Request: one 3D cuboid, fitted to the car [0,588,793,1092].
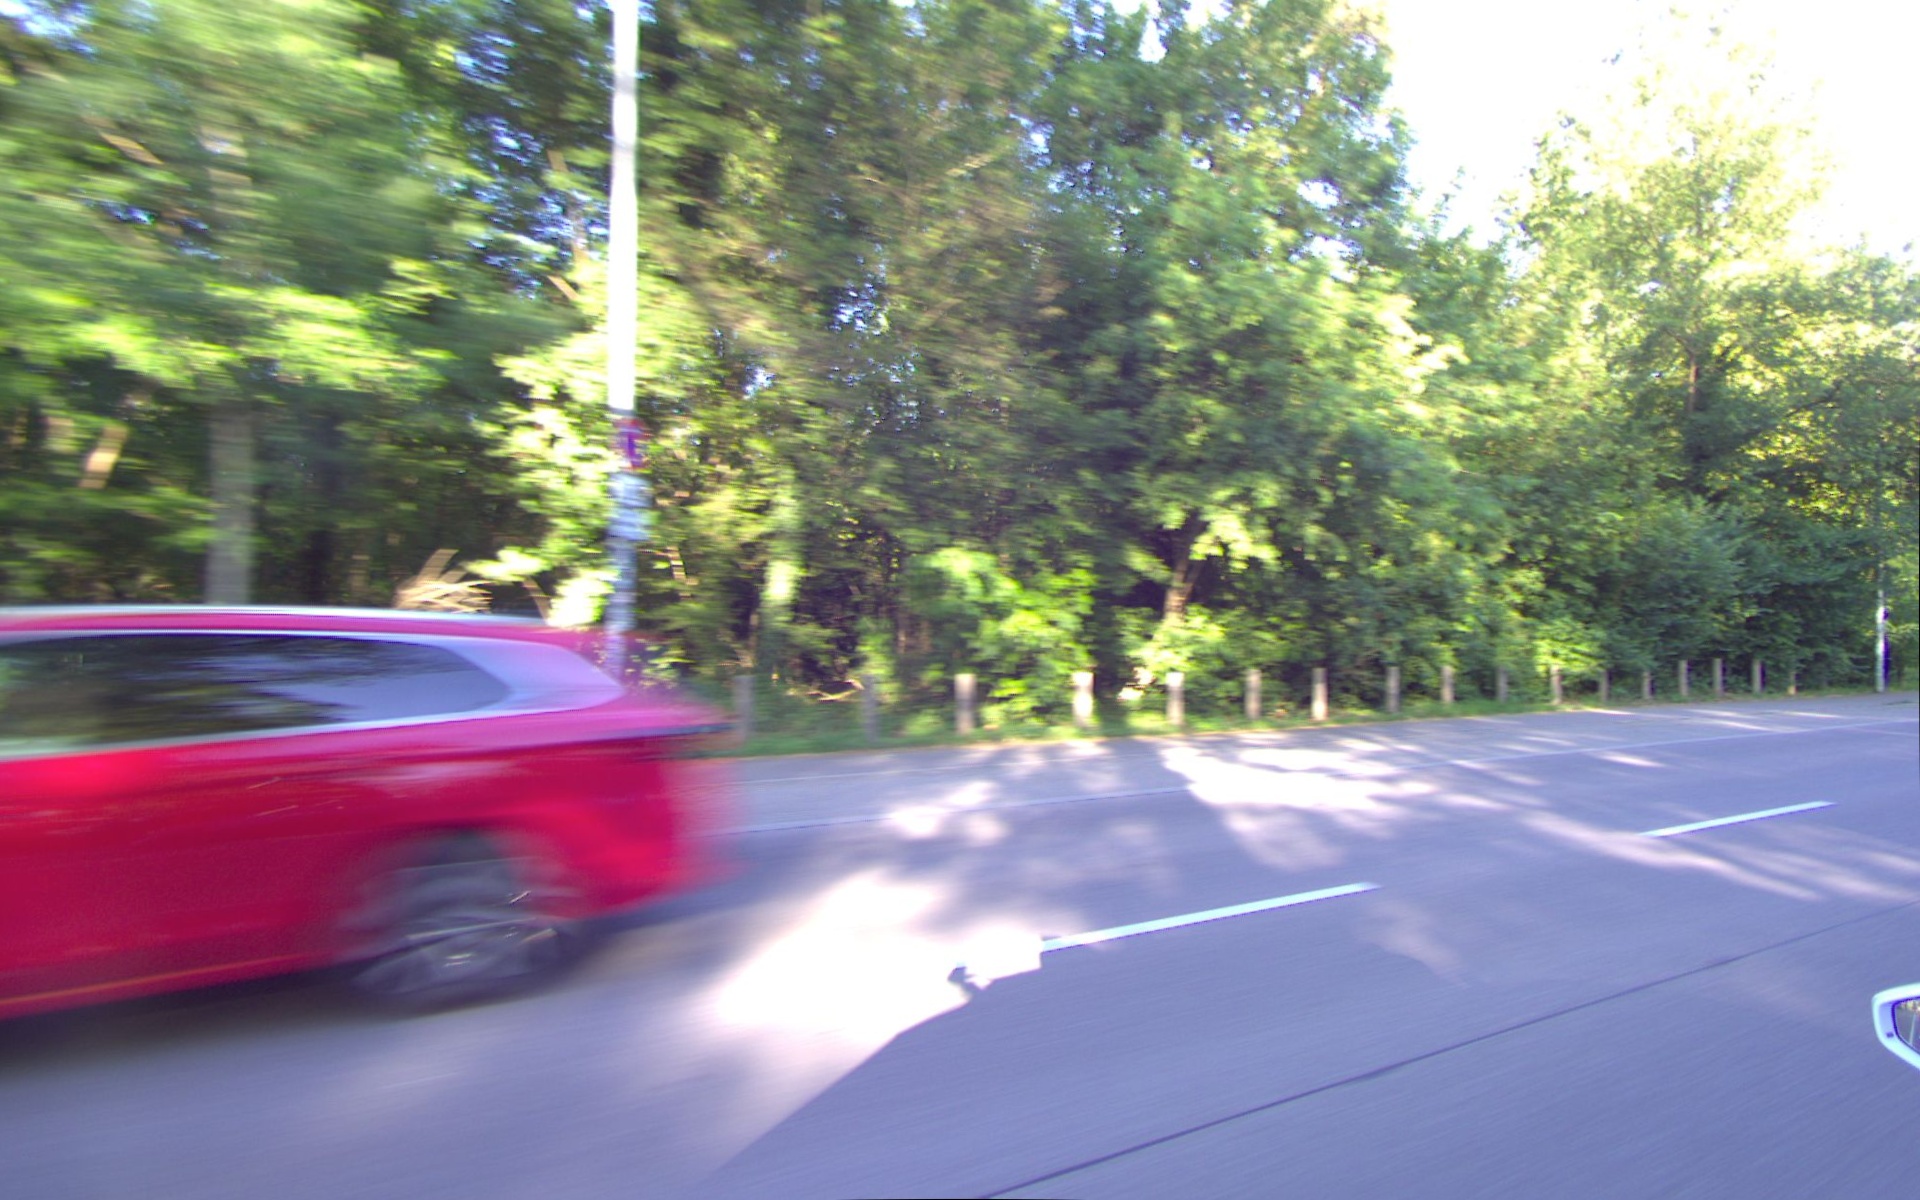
[{"bbox_3d":[-3.246,0.725,3.771,4.867,1.482,1.815,1,-2,-30],"label":"car"}]
